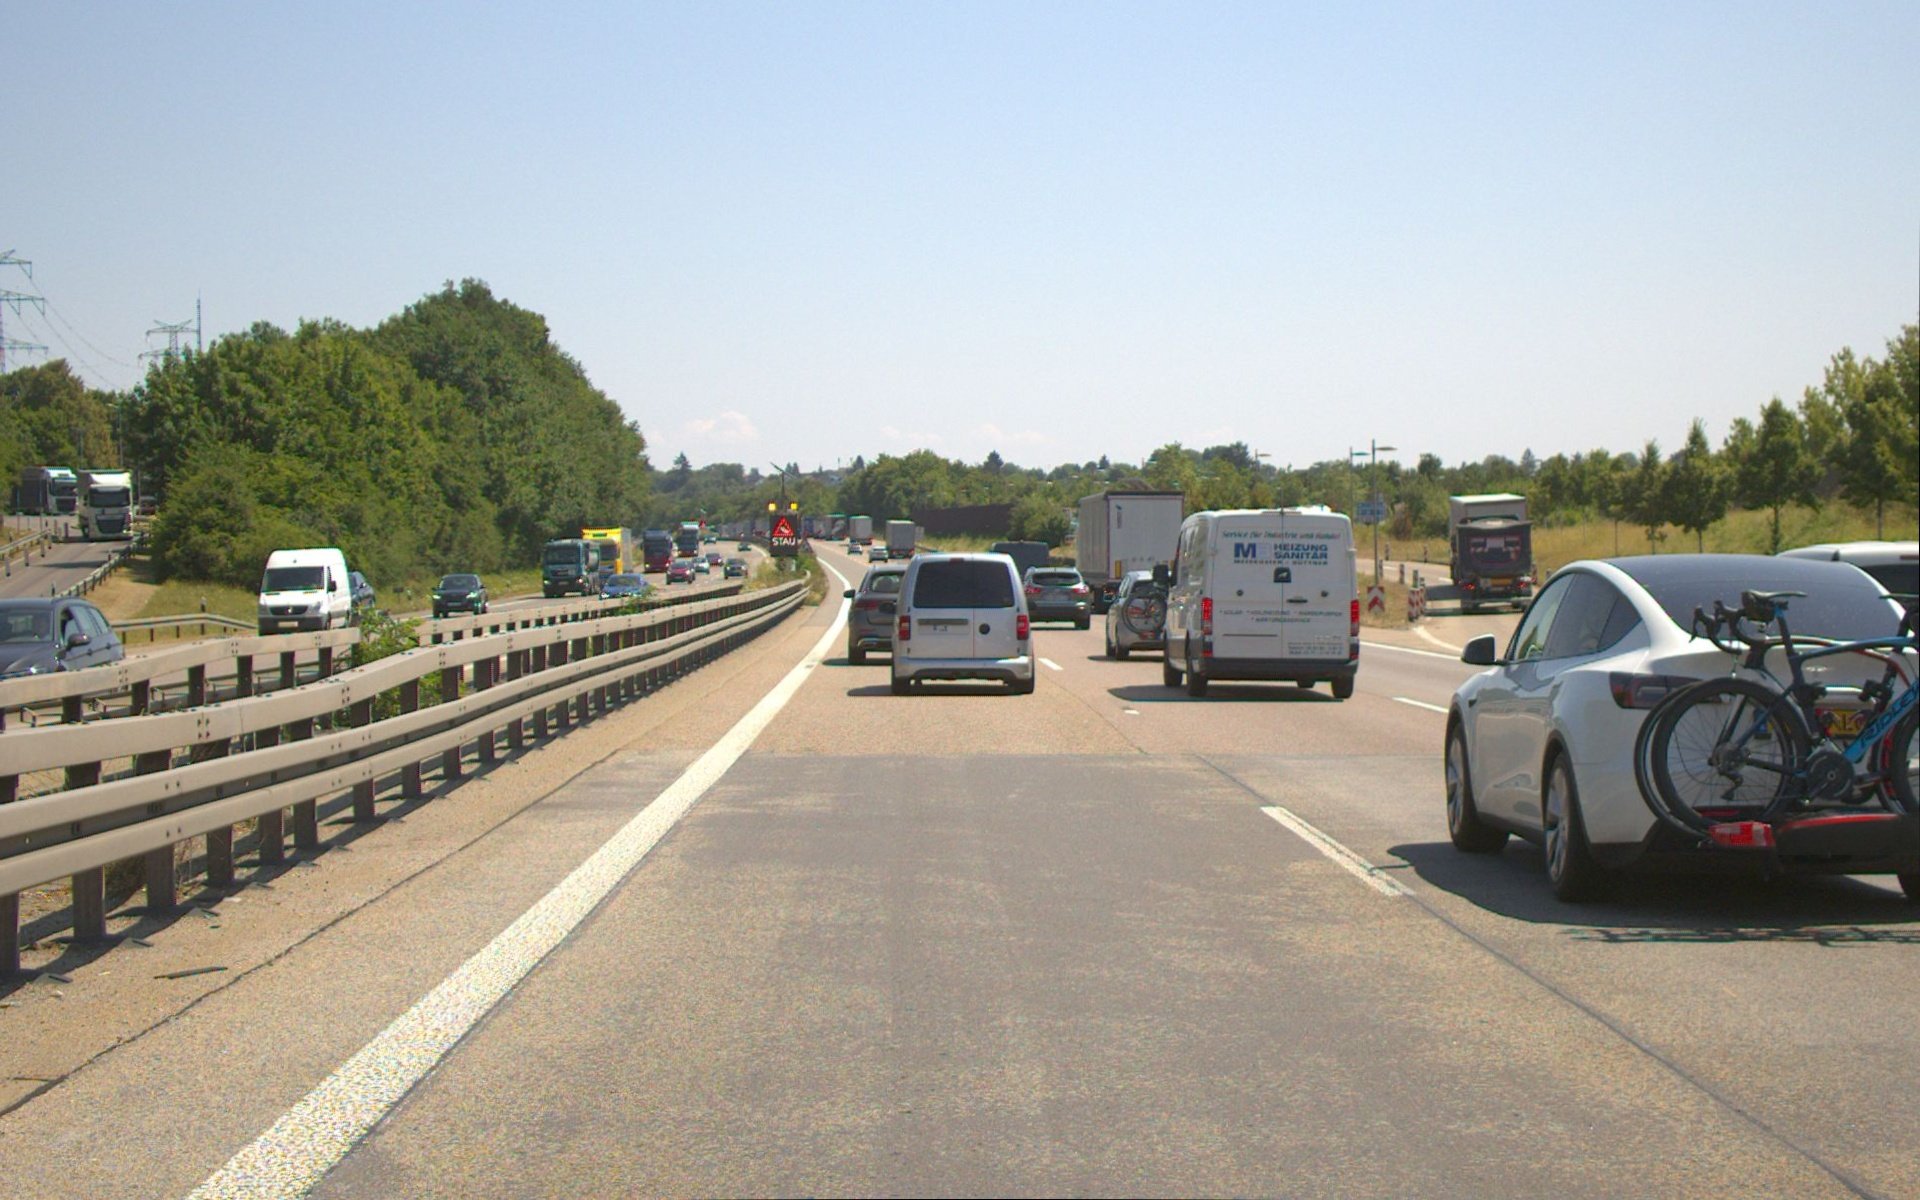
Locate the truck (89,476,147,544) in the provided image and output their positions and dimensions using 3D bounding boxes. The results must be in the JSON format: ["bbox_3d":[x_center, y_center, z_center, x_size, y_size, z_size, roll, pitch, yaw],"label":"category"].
[{"bbox_3d":[-49.781,-5.332,203.277,2.943,3.882,4.326,-1,3,-10],"label":"truck"}]

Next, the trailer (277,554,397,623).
[{"bbox_3d":[-19.151,-0.376,106.043,2.764,1.939,6.725,-2,1,-3],"label":"trailer"}]

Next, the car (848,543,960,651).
[{"bbox_3d":[-0.901,-0.072,56.848,1.745,1.695,4.089,-1,1,0],"label":"car"}]

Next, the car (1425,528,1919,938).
[{"bbox_3d":[3.649,0.511,16.638,1.950,1.631,5.601,1,1,-1],"label":"car"}]

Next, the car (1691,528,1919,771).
[{"bbox_3d":[7.530,0.341,28.241,1.950,1.831,4.179,-1,1,-3],"label":"car"}]

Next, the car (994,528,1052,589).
[{"bbox_3d":[1.994,-1.327,109.627,1.674,1.885,4.089,-1,1,-1],"label":"car"}]

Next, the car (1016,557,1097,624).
[{"bbox_3d":[2.450,-0.270,88.007,1.901,1.666,4.089,0,1,-1],"label":"car"}]

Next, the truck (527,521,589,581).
[{"bbox_3d":[-22.725,-2.763,194.528,2.914,3.289,5.331,-1,1,-1],"label":"truck"}]

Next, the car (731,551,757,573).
[{"bbox_3d":[-16.198,-2.869,258.034,1.782,1.619,4.000,-1,1,-1],"label":"car"}]

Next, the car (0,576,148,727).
[{"bbox_3d":[-9.965,0.512,36.284,1.781,1.468,4.489,-1,1,-1],"label":"car"}]

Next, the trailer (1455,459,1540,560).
[{"bbox_3d":[23.062,-3.781,148.059,3.053,4.069,14.254,1,1,7],"label":"trailer"}]

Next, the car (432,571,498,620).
[{"bbox_3d":[-19.660,-0.196,136.805,2.157,1.794,4.514,-2,1,-3],"label":"car"}]

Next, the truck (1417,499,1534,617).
[{"bbox_3d":[18.973,-1.520,125.805,3.790,4.069,12.513,1,1,10],"label":"truck"}]

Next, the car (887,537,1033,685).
[{"bbox_3d":[-0.022,0.111,43.920,1.745,1.758,4.089,-1,1,-1],"label":"car"}]

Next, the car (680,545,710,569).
[{"bbox_3d":[-18.463,-2.981,239.833,1.781,1.525,4.385,-3,1,-2],"label":"car"}]

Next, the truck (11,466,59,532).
[{"bbox_3d":[-59.161,-6.384,220.104,2.549,3.994,11.794,1,1,-13],"label":"truck"}]

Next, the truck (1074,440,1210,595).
[{"bbox_3d":[6.132,-2.733,118.077,3.788,4.982,12.519,1,1,-1],"label":"truck"}]

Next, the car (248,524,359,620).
[{"bbox_3d":[-18.976,-0.828,99.666,2.109,2.630,6.004,-2,1,-1],"label":"car"}]

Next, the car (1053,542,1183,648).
[{"bbox_3d":[2.693,-0.109,59.407,1.976,1.727,4.089,-1,1,-1],"label":"car"}]

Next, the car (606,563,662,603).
[{"bbox_3d":[-12.675,-0.667,133.803,1.782,1.468,4.355,-1,1,0],"label":"car"}]

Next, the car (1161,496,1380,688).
[{"bbox_3d":[3.817,-0.127,43.215,2.181,2.246,5.363,0,1,-1],"label":"car"}]

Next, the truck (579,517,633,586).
[{"bbox_3d":[-22.584,-3.107,219.515,3.174,4.326,3.513,-1,1,-3],"label":"truck"}]
